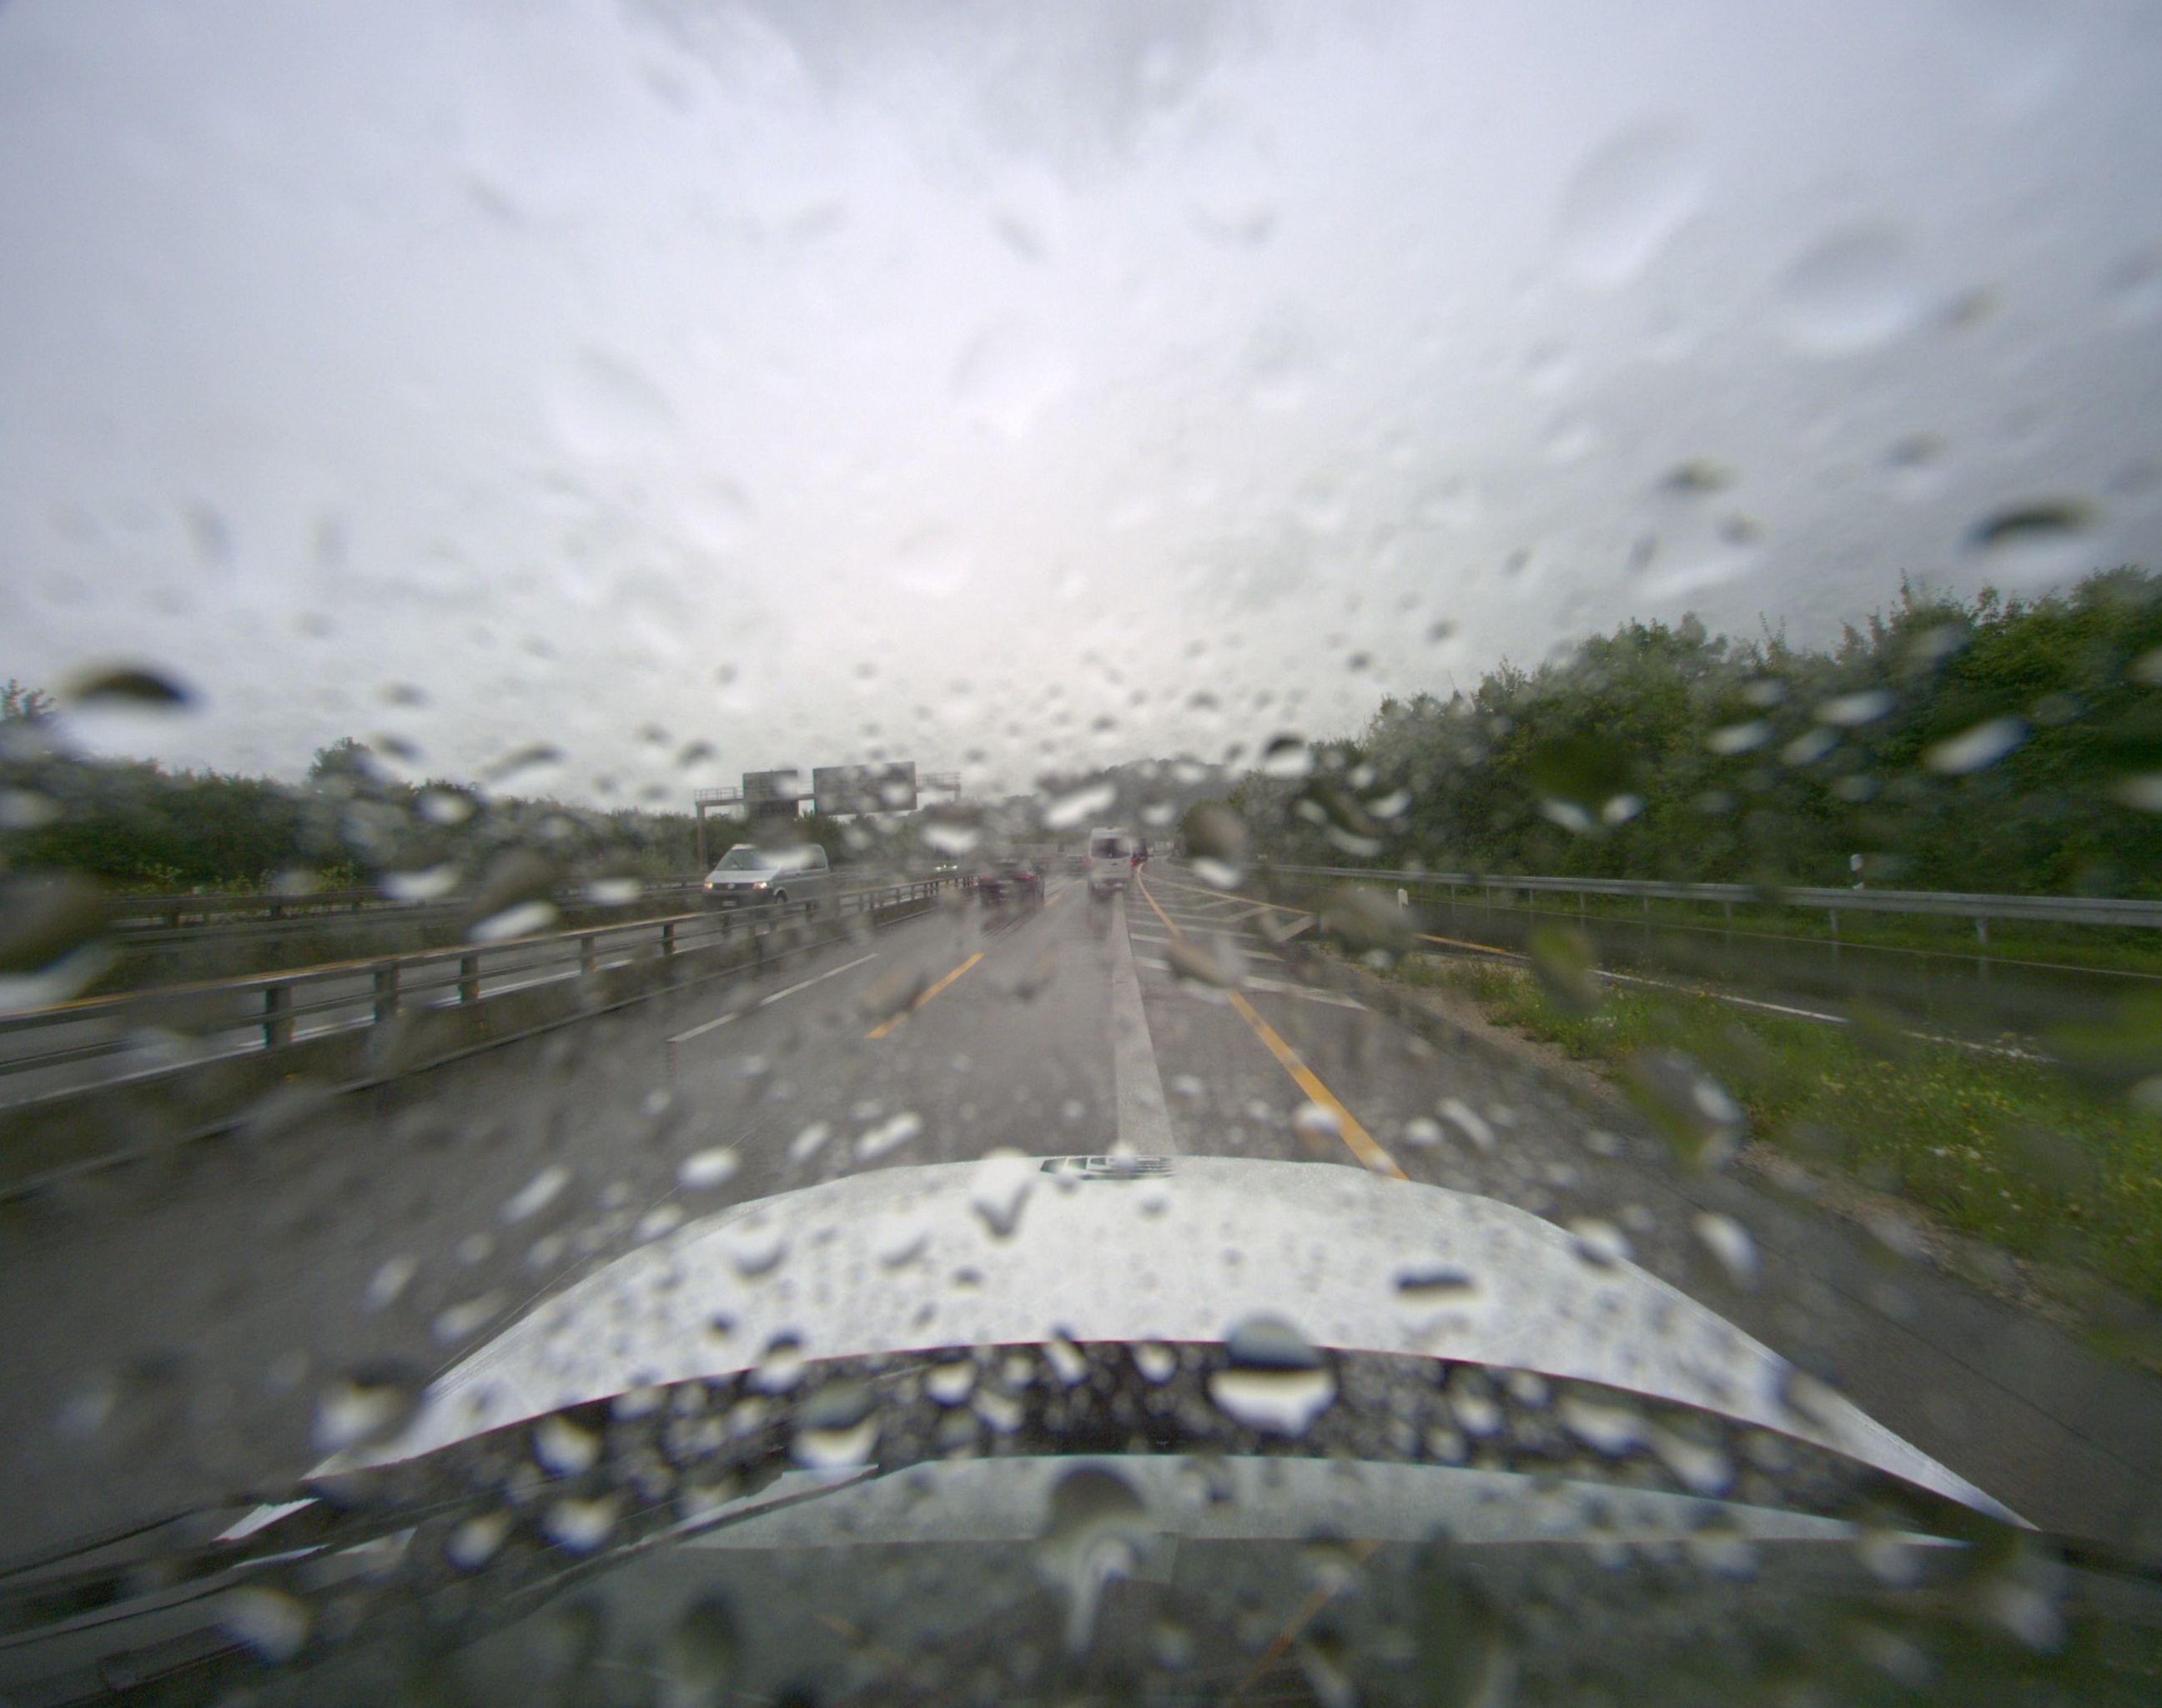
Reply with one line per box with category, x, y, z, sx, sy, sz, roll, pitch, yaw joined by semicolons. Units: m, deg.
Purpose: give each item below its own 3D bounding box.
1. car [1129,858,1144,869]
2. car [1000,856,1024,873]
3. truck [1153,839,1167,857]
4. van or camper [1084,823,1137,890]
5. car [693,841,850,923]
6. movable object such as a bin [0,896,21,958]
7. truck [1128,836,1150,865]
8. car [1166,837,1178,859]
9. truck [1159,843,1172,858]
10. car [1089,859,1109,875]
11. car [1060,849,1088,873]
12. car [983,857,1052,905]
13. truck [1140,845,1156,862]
car;6.200;1.053;90.909;1.381;1.256;3.120;-1;-1;-2
car;-6.042;0.922;71.591;1.625;1.351;3.656;-1;-1;2
truck;21.858;-1.505;224.664;3.908;4.785;9.924;0;-1;6
van or camper;1.299;0.119;35.429;2.131;2.721;4.651;-1;-1;2
car;-8.418;0.722;22.859;1.901;2.014;5.832;0;-1;3
movable object such as a bin;-26.350;1.686;17.384;2.118;1.425;4.001;0;-1;2
truck;9.937;-0.519;140.674;3.308;4.785;9.910;0;-1;2
car;18.265;-1.185;163.419;2.049;4.192;6.753;-1;-1;4
truck;27.311;-1.162;262.795;3.908;4.785;9.924;0;-1;6
car;1.800;1.292;80.520;1.845;1.500;4.002;-1;0;2
car;-0.480;0.525;60.256;1.860;1.659;3.990;-1;-1;2
car;-2.022;0.846;27.043;1.933;1.427;4.758;0;-1;0
truck;15.198;-0.083;185.545;3.308;3.762;9.910;0;-1;2
